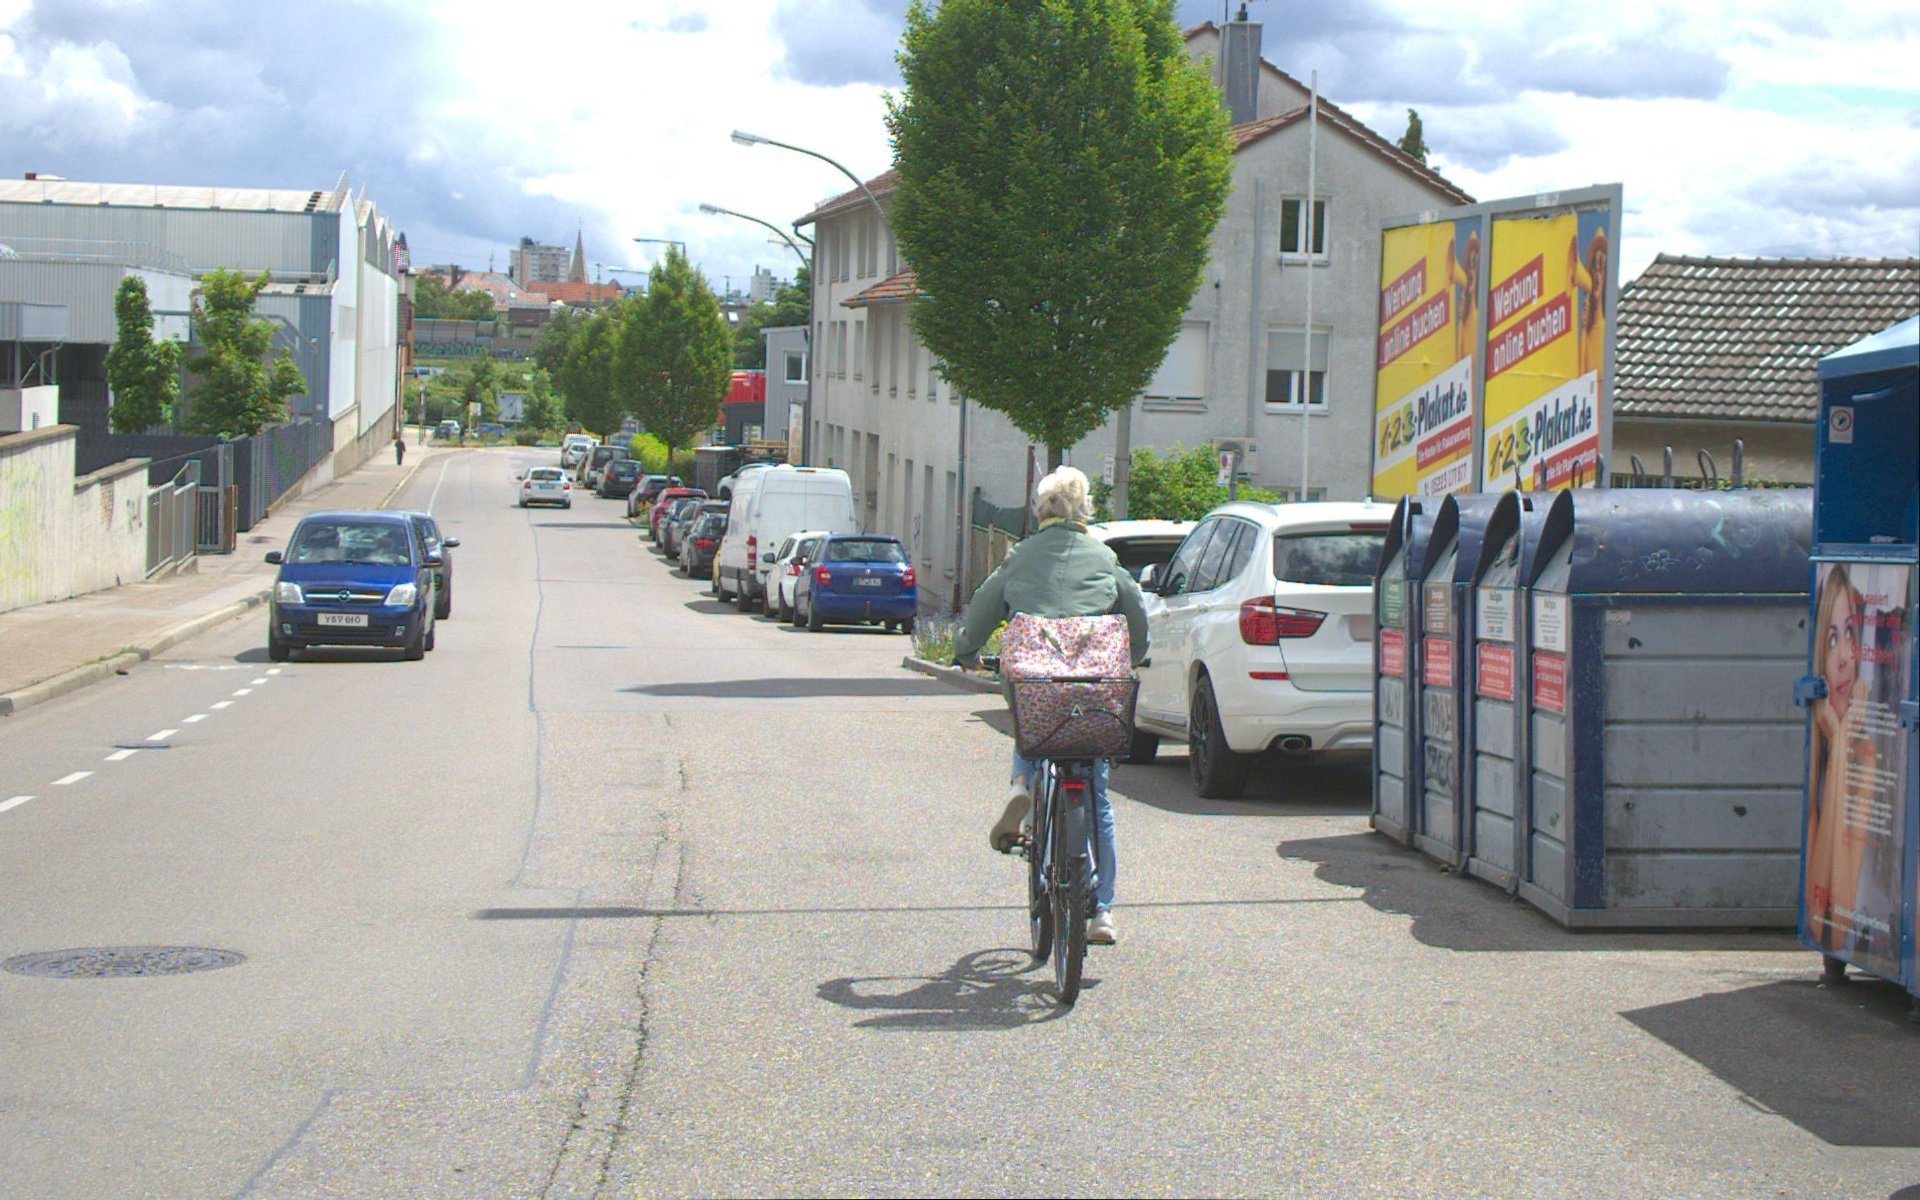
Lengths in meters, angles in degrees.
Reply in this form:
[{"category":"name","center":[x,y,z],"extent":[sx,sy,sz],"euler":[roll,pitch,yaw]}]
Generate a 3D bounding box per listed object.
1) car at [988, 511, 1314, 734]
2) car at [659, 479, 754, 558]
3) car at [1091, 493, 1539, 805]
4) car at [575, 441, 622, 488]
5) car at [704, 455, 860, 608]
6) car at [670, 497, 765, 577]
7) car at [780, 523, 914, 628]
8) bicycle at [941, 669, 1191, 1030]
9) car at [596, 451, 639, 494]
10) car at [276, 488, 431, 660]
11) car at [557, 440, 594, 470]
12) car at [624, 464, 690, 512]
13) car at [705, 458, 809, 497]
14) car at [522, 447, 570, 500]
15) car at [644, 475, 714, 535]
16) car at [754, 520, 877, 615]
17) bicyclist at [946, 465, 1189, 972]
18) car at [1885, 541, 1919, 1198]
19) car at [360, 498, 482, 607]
[{"category":"car","center":[1.372,0.107,26.474],"extent":[1.841,1.560,4.467],"euler":[0,1,-6]},{"category":"car","center":[-6.332,-2.052,85.484],"extent":[1.676,1.632,4.799],"euler":[3,3,-12]},{"category":"car","center":[1.992,0.213,20.638],"extent":[1.685,1.653,4.481],"euler":[1,1,-7]},{"category":"car","center":[-16.278,-6.106,154.585],"extent":[1.868,1.983,5.146],"euler":[1,3,-8]},{"category":"car","center":[-3.382,-1.286,63.787],"extent":[2.032,2.632,7.285],"euler":[1,1,-9]},{"category":"car","center":[-5.673,-1.502,79.958],"extent":[1.704,1.504,5.089],"euler":[3,3,-9]},{"category":"car","center":[-1.770,-0.402,52.803],"extent":[1.566,1.505,4.095],"euler":[1,1,-8]},{"category":"bicycle","center":[0.329,0.789,11.483],"extent":[0.740,0.972,1.733],"euler":[2,3,0]},{"category":"car","center":[-13.943,-5.188,139.802],"extent":[1.679,1.632,4.124],"euler":[2,3,-6]},{"category":"car","center":[-6.731,-0.316,38.337],"extent":[1.626,1.811,3.781],"euler":[0,1,-9]},{"category":"car","center":[-22.190,-8.350,198.270],"extent":[1.700,1.522,3.740],"euler":[4,3,-12]},{"category":"car","center":[-10.041,-3.725,113.609],"extent":[1.790,1.460,4.710],"euler":[1,2,-9]},{"category":"car","center":[-7.924,-4.776,134.176],"extent":[4.072,1.457,1.721],"euler":[2,5,44]},{"category":"car","center":[-14.697,-4.468,121.889],"extent":[1.566,1.780,3.606],"euler":[1,1,-8]},{"category":"car","center":[-8.013,-2.718,97.653],"extent":[1.734,1.467,4.263],"euler":[2,4,-8]},{"category":"car","center":[-2.456,-0.570,57.715],"extent":[1.592,1.505,3.791],"euler":[1,1,-9]},{"category":"bicyclist","center":[0.345,0.377,11.477],"extent":[0.739,1.621,0.731],"euler":[2,1,0]},{"category":"car","center":[3.004,0.645,6.015],"extent":[1.655,1.480,4.045],"euler":[0,1,0]},{"category":"car","center":[-8.326,-0.756,53.163],"extent":[1.799,1.616,4.094],"euler":[0,2,-9]}]
